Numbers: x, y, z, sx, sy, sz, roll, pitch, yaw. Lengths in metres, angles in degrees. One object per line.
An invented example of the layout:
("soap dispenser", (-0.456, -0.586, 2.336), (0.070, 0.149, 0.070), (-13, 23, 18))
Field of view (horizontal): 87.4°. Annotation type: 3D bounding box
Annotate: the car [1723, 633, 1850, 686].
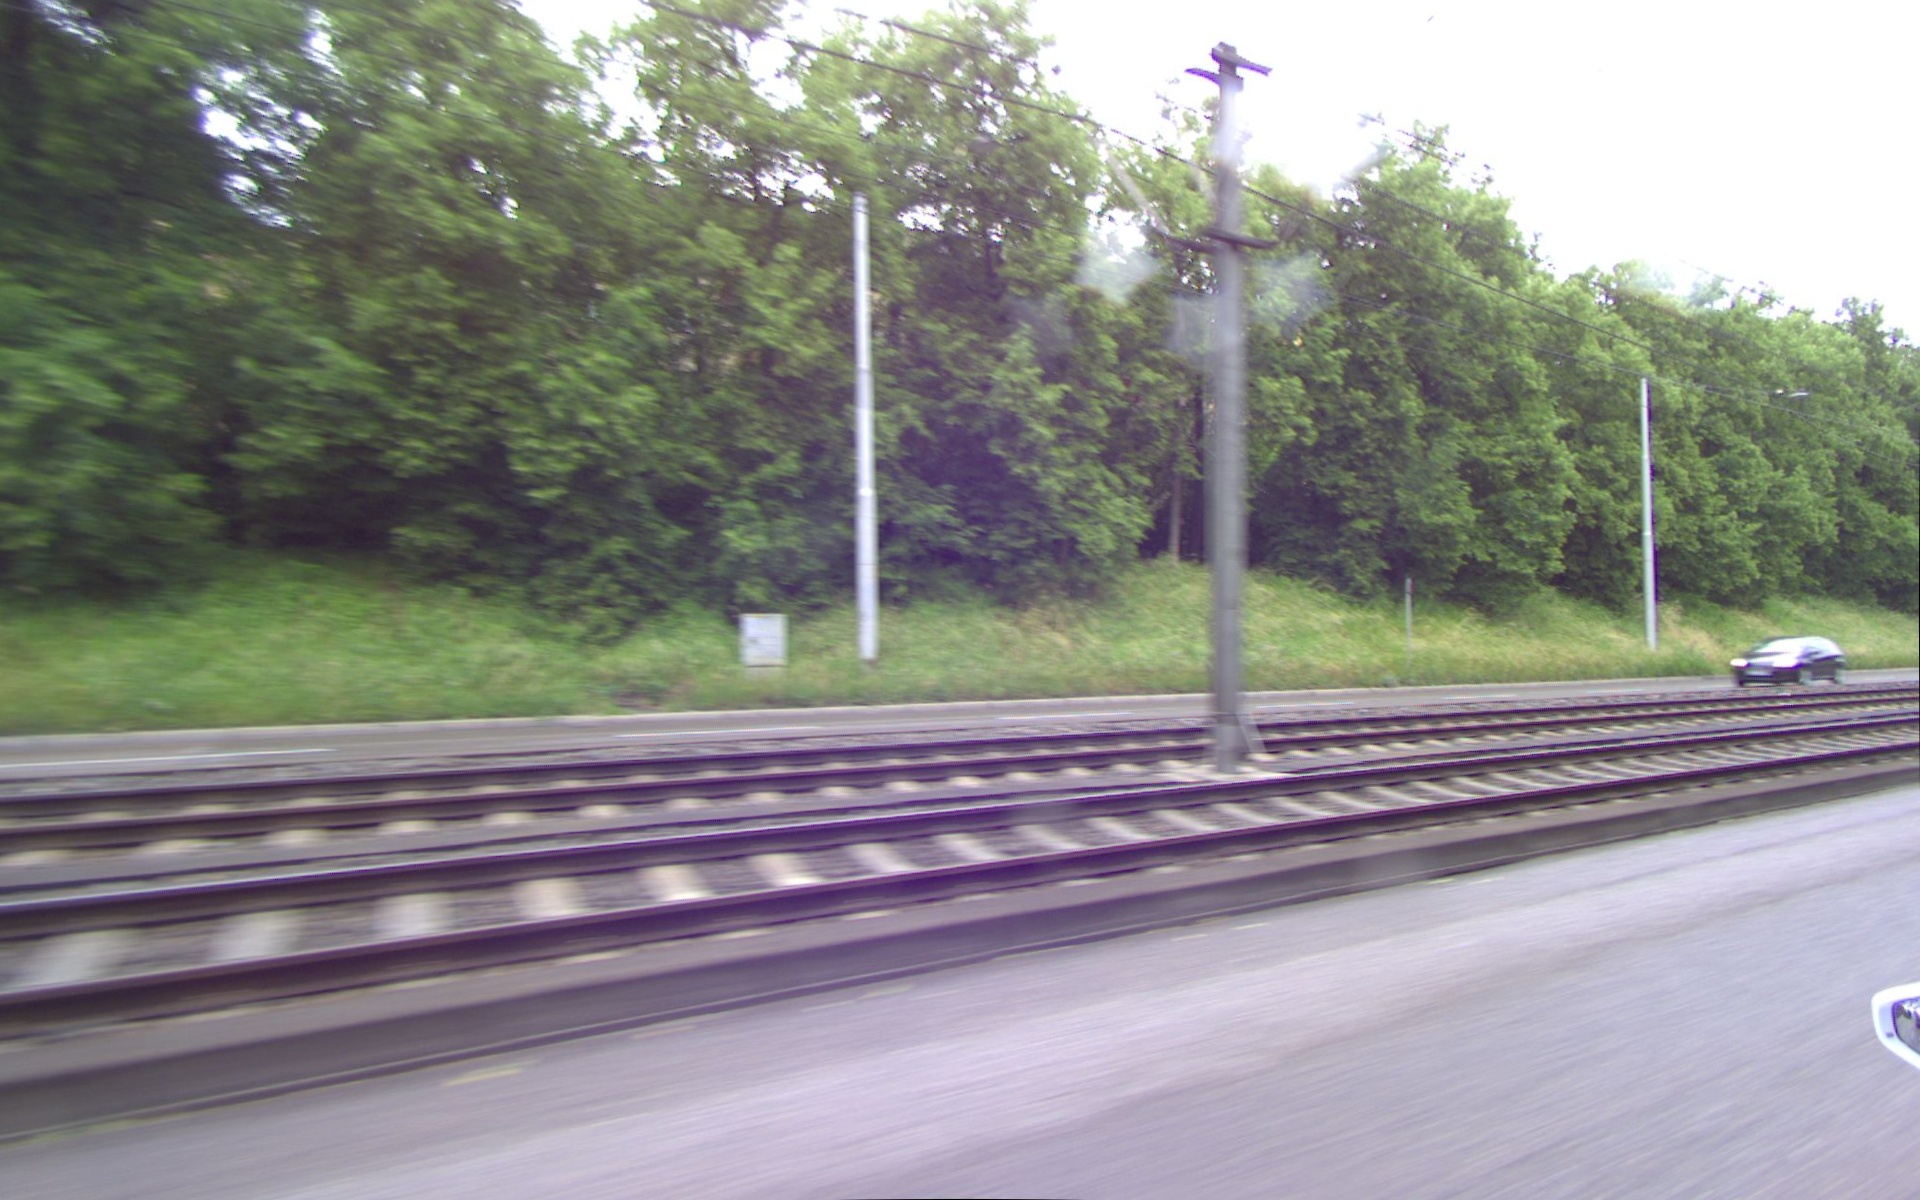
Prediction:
("car", (24.477, 1.762, 29.731), (3.981, 1.462, 1.662), (2, -4, -31))
